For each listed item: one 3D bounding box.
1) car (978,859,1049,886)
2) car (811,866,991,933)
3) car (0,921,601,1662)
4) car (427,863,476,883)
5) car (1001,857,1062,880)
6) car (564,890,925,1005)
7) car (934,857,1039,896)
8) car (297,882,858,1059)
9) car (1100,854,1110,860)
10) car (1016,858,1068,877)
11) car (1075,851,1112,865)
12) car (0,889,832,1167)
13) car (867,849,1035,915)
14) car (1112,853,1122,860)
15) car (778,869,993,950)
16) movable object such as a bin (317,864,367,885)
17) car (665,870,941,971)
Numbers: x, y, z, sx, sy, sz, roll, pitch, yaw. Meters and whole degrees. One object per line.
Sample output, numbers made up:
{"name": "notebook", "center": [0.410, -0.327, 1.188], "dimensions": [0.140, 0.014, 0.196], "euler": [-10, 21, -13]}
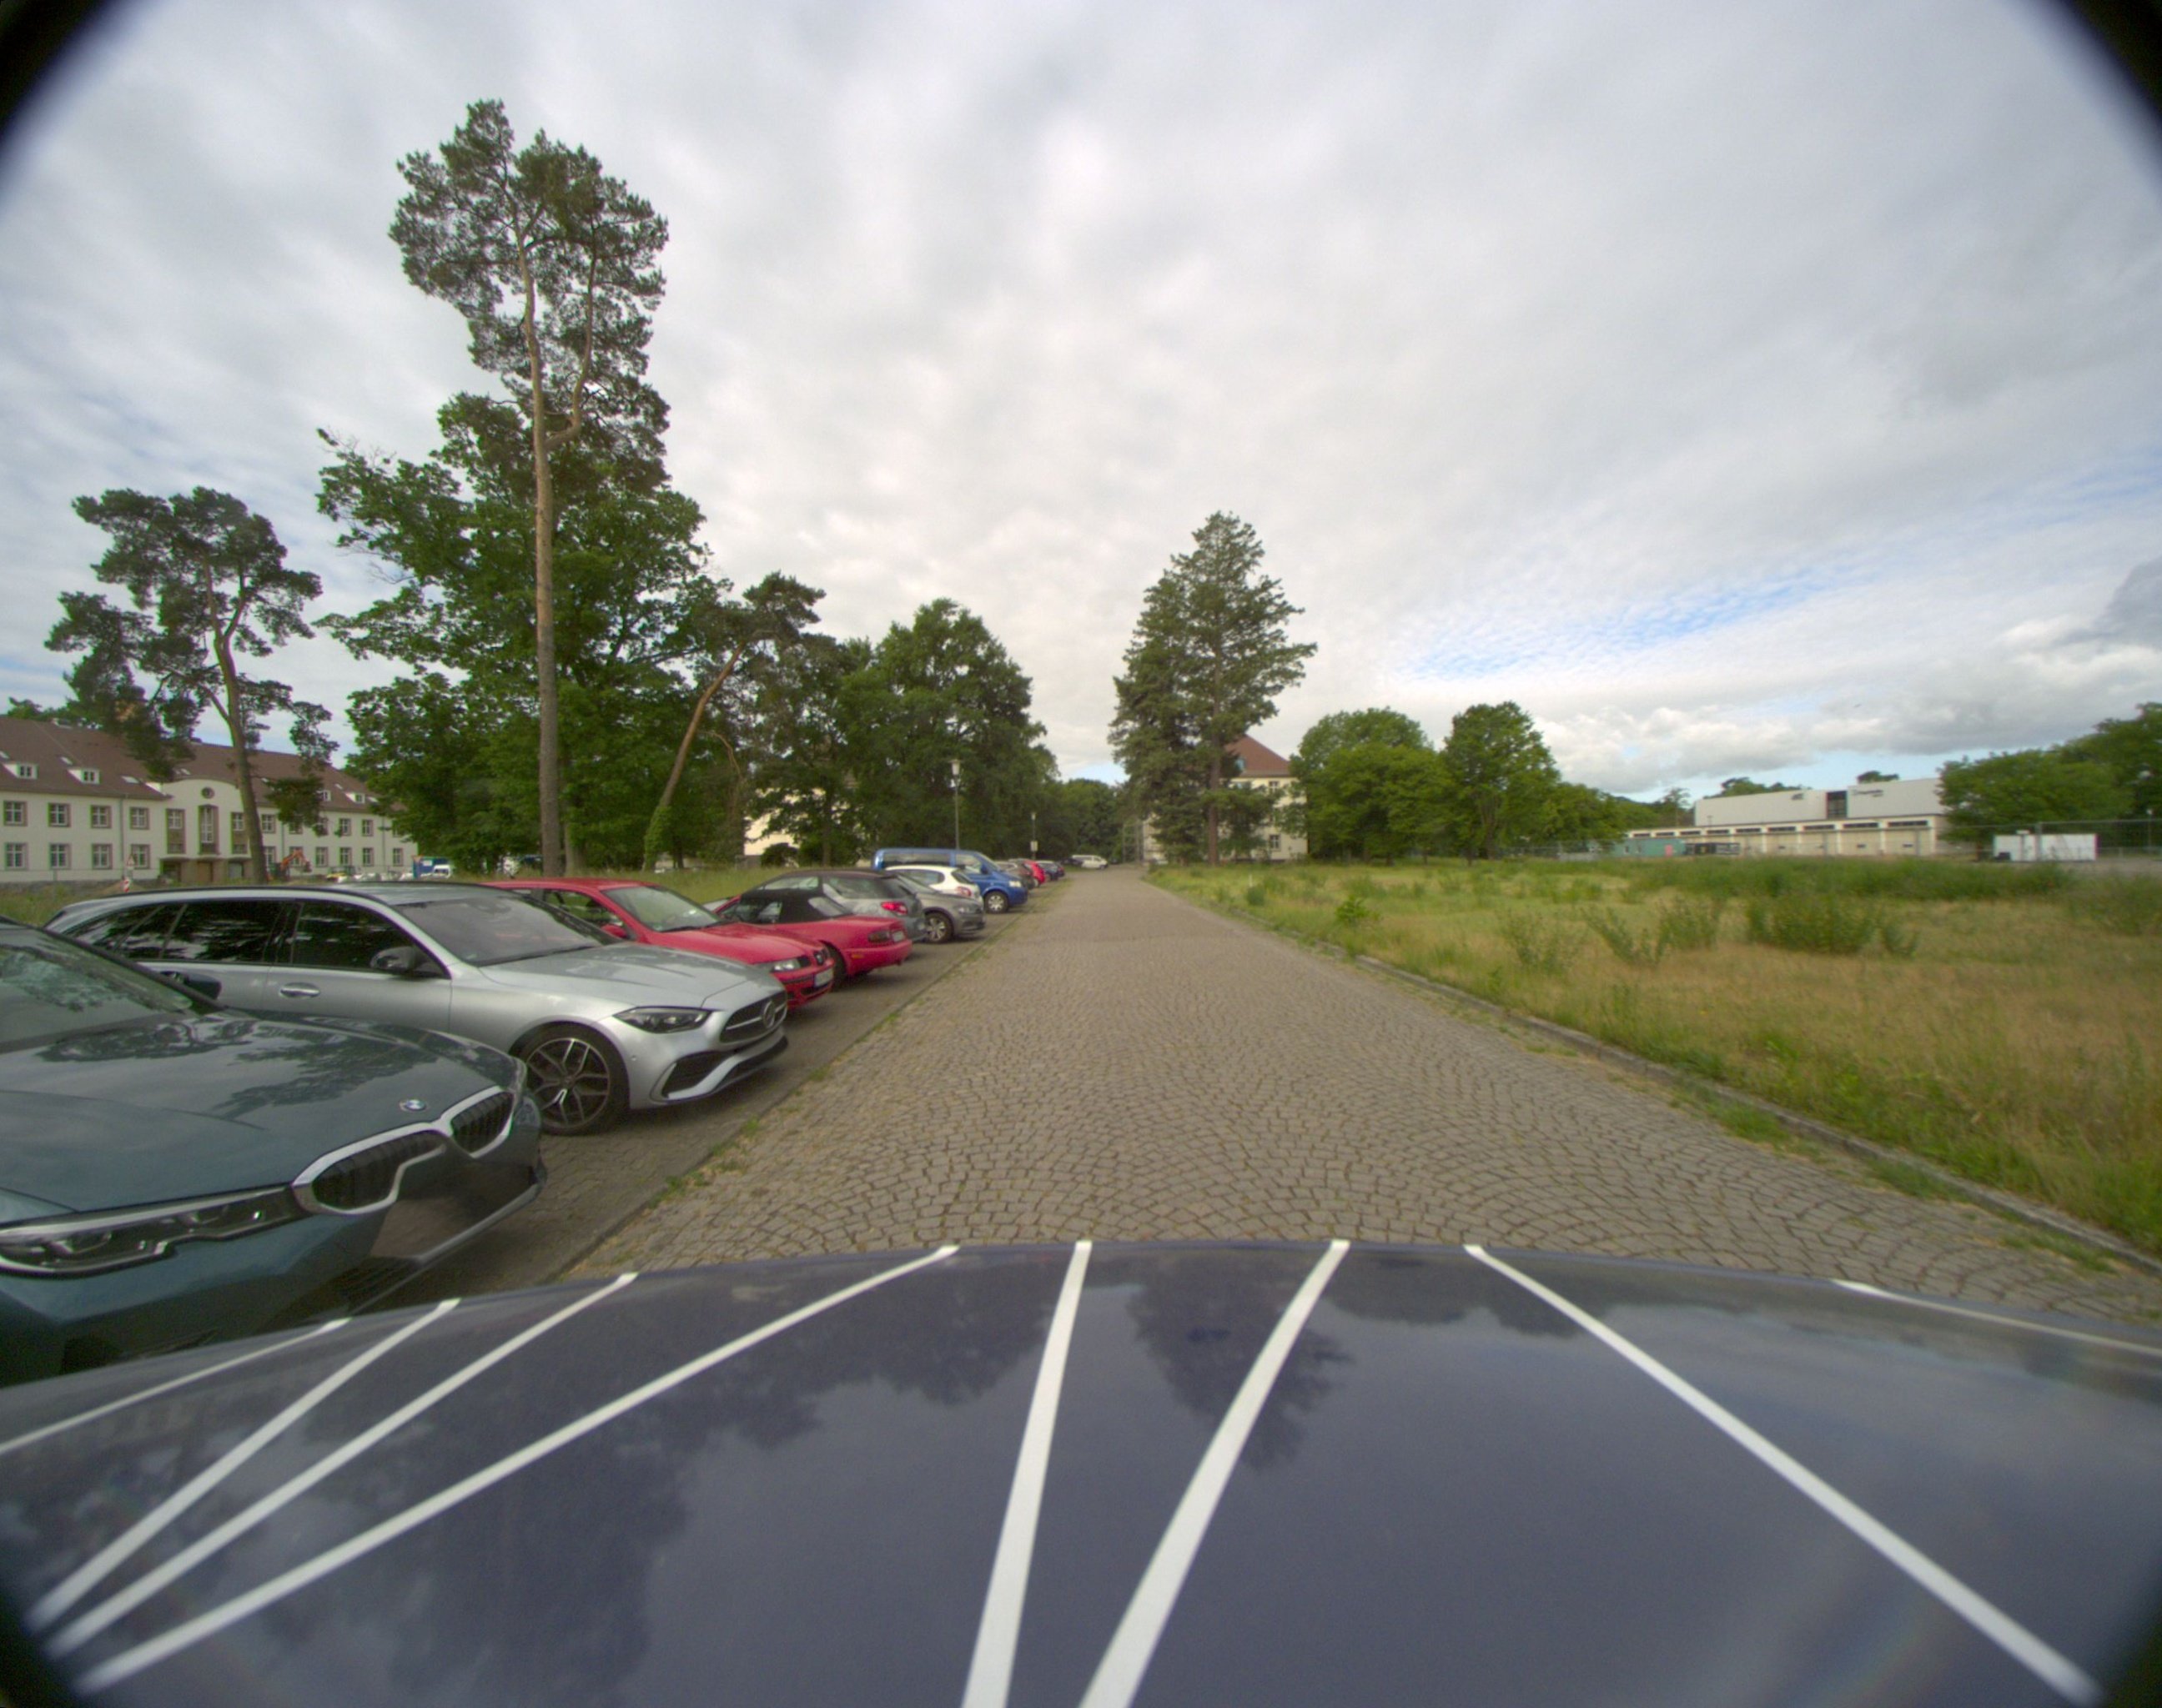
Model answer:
{"name": "car", "center": [-3.759, 1.035, 42.767], "dimensions": [3.894, 1.451, 1.582], "euler": [0, 0, 0]}
{"name": "car", "center": [-4.249, 1.051, 18.348], "dimensions": [3.871, 1.463, 1.758], "euler": [1, 0, 2]}
{"name": "car", "center": [-4.541, 1.008, 2.509], "dimensions": [4.693, 1.408, 1.871], "euler": [1, 0, -1]}
{"name": "car", "center": [-66.593, 2.007, 80.475], "dimensions": [1.999, 2.002, 3.999], "euler": [-1, 0, -3]}
{"name": "car", "center": [-3.398, 1.010, 53.005], "dimensions": [4.150, 1.529, 1.582], "euler": [0, 0, 0]}
{"name": "car", "center": [-4.149, 1.147, 9.839], "dimensions": [3.872, 1.229, 1.758], "euler": [1, 0, 0]}
{"name": "car", "center": [-3.975, 0.927, 32.490], "dimensions": [4.271, 1.589, 1.822], "euler": [0, 0, 0]}
{"name": "car", "center": [-4.610, 1.031, 7.466], "dimensions": [4.272, 1.408, 1.871], "euler": [1, 0, 1]}
{"name": "car", "center": [5.334, 0.677, 172.750], "dimensions": [1.870, 1.408, 4.695], "euler": [1, 0, -3]}
{"name": "car", "center": [-2.951, 1.009, 57.657], "dimensions": [3.877, 1.417, 1.582], "euler": [0, 0, 0]}
{"name": "car", "center": [1.724, 0.563, 106.385], "dimensions": [5.140, 1.860, 1.723], "euler": [0, 0, 0]}
{"name": "car", "center": [-4.272, 1.019, 5.278], "dimensions": [4.431, 1.408, 1.871], "euler": [1, 0, 3]}
{"name": "car", "center": [-3.925, 0.833, 23.578], "dimensions": [4.820, 1.934, 2.003], "euler": [1, 0, 0]}
{"name": "car", "center": [8.229, 0.576, 173.241], "dimensions": [1.870, 1.408, 4.695], "euler": [1, 0, -3]}
{"name": "car", "center": [-3.828, 1.068, 15.339], "dimensions": [3.872, 1.463, 1.758], "euler": [1, 0, 1]}
{"name": "movable object such as a bin", "center": [-74.679, 2.062, 76.838], "dimensions": [1.679, 2.002, 3.245], "euler": [-1, 0, 8]}
{"name": "car", "center": [-4.398, 1.030, 12.471], "dimensions": [3.872, 1.463, 1.758], "euler": [1, 0, 0]}
